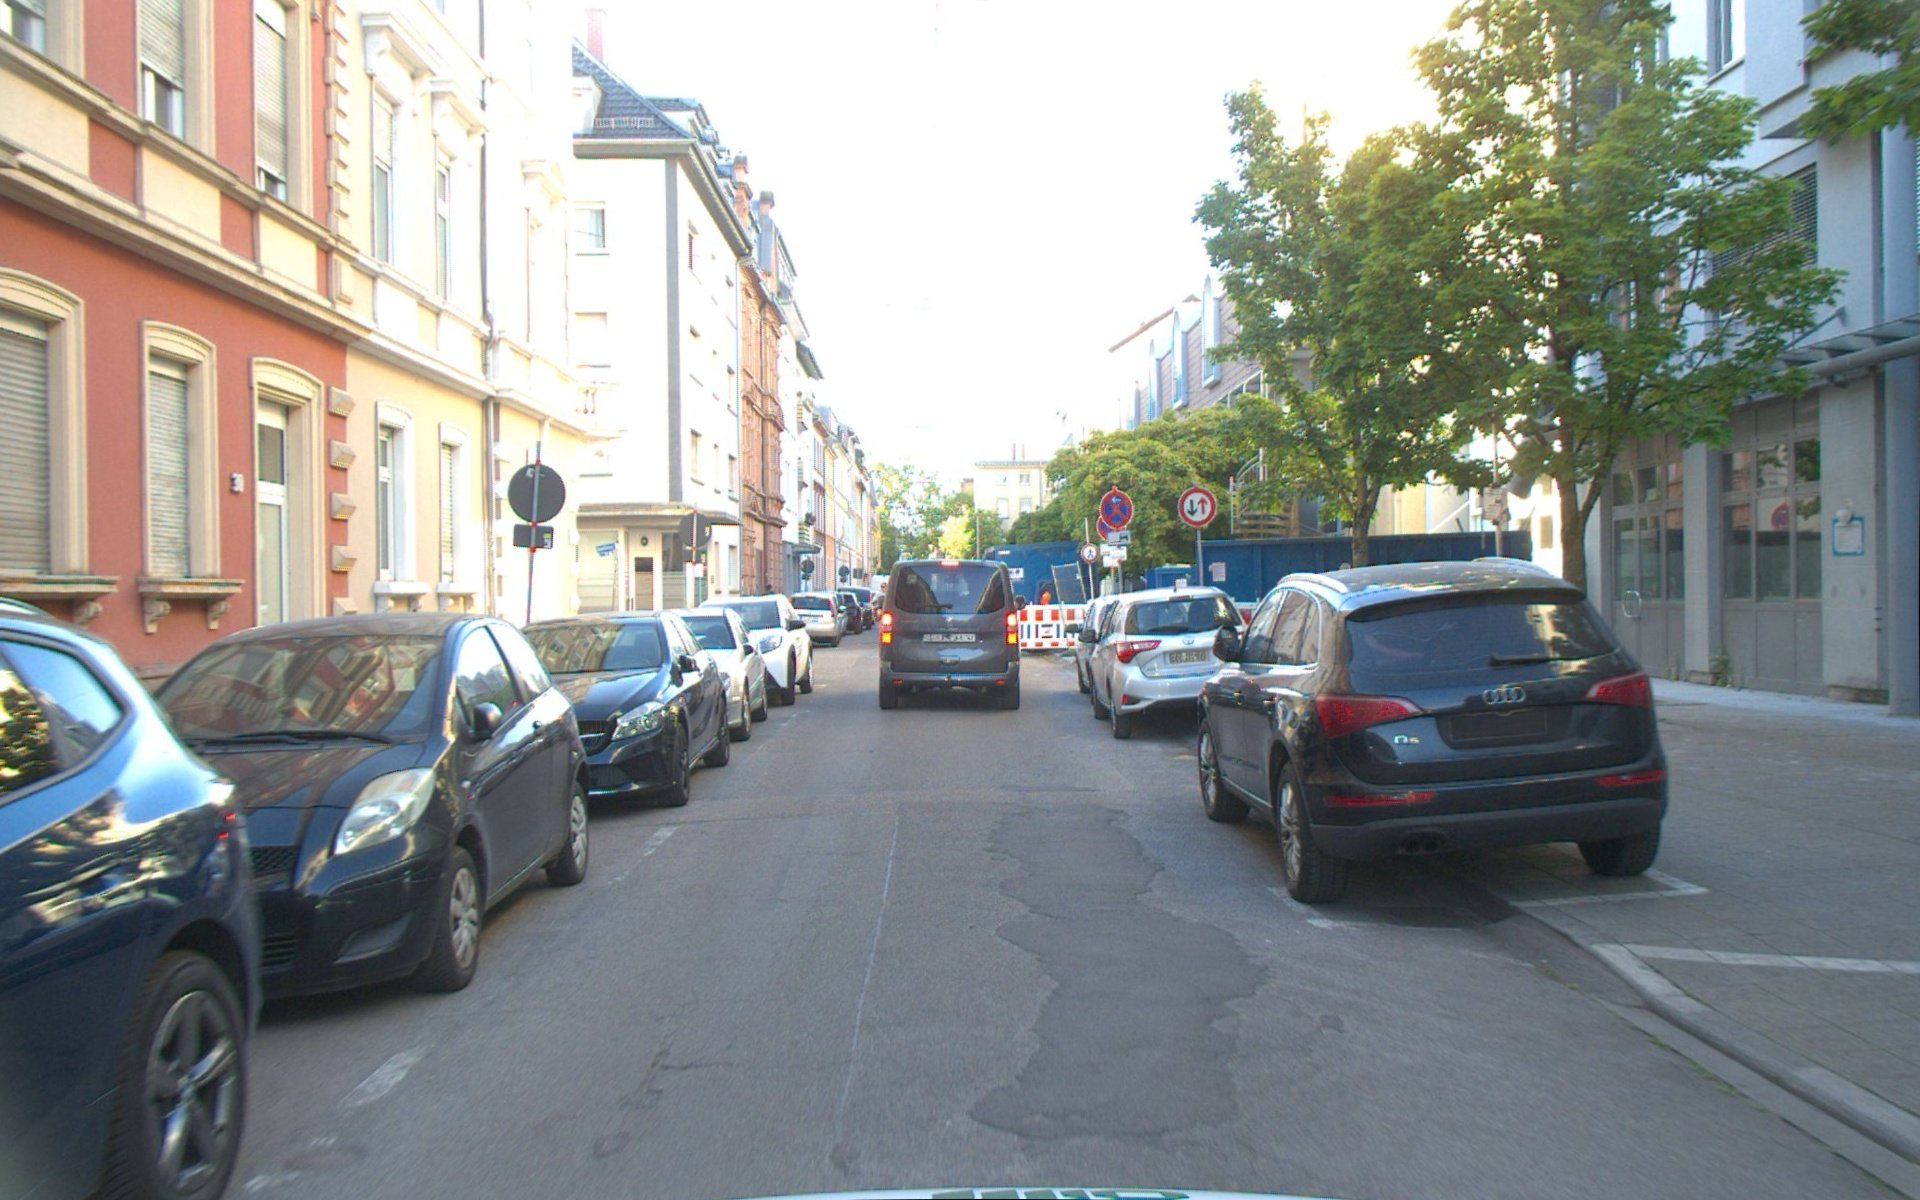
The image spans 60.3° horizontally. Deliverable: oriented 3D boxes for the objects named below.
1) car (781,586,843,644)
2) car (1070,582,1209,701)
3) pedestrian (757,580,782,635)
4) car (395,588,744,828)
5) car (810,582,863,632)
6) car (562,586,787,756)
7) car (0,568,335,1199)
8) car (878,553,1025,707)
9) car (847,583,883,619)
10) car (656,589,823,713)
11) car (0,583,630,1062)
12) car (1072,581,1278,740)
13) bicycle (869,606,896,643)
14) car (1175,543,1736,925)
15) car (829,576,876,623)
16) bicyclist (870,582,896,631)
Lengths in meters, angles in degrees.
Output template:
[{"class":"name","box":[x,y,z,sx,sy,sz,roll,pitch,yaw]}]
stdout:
[{"class":"car","box":[-4.206,0.419,47.311,1.624,1.485,3.414,4,-1,-5]},{"class":"car","box":[2.490,0.537,23.675,1.642,1.501,3.730,-3,0,2]},{"class":"pedestrian","box":[-5.996,0.240,52.088,0.725,1.693,0.703,-1,0,-6]},{"class":"car","box":[-2.938,0.718,13.420,1.882,1.509,4.265,-3,1,-2]},{"class":"car","box":[-4.729,0.264,63.368,1.855,1.749,3.750,4,-1,-5]},{"class":"car","box":[-3.108,0.700,18.839,1.882,1.587,4.265,-3,1,-2]},{"class":"car","box":[-2.714,0.789,2.607,1.882,1.587,4.265,-3,1,-2]},{"class":"car","box":[-0.144,0.380,22.672,1.827,1.919,4.234,0,0,-1]},{"class":"car","box":[-5.355,0.054,92.909,1.855,1.878,4.344,4,-1,-5]},{"class":"car","box":[-3.120,0.666,24.242,1.882,1.533,4.266,-3,1,-1]},{"class":"car","box":[-2.917,0.771,7.947,1.863,1.587,4.239,-3,1,-2]},{"class":"car","box":[2.342,0.609,18.943,1.643,1.551,3.968,-3,0,-2]},{"class":"bicycle","box":[-2.288,0.709,48.961,0.718,1.045,2.115,1,0,-1]},{"class":"car","box":[2.543,0.595,9.730,1.847,1.650,4.433,-3,0,-1]},{"class":"car","box":[-4.751,-0.028,72.740,1.855,1.878,4.344,4,-1,-5]},{"class":"bicyclist","box":[-2.287,0.181,49.087,0.718,1.437,0.940,1,0,-1]}]
